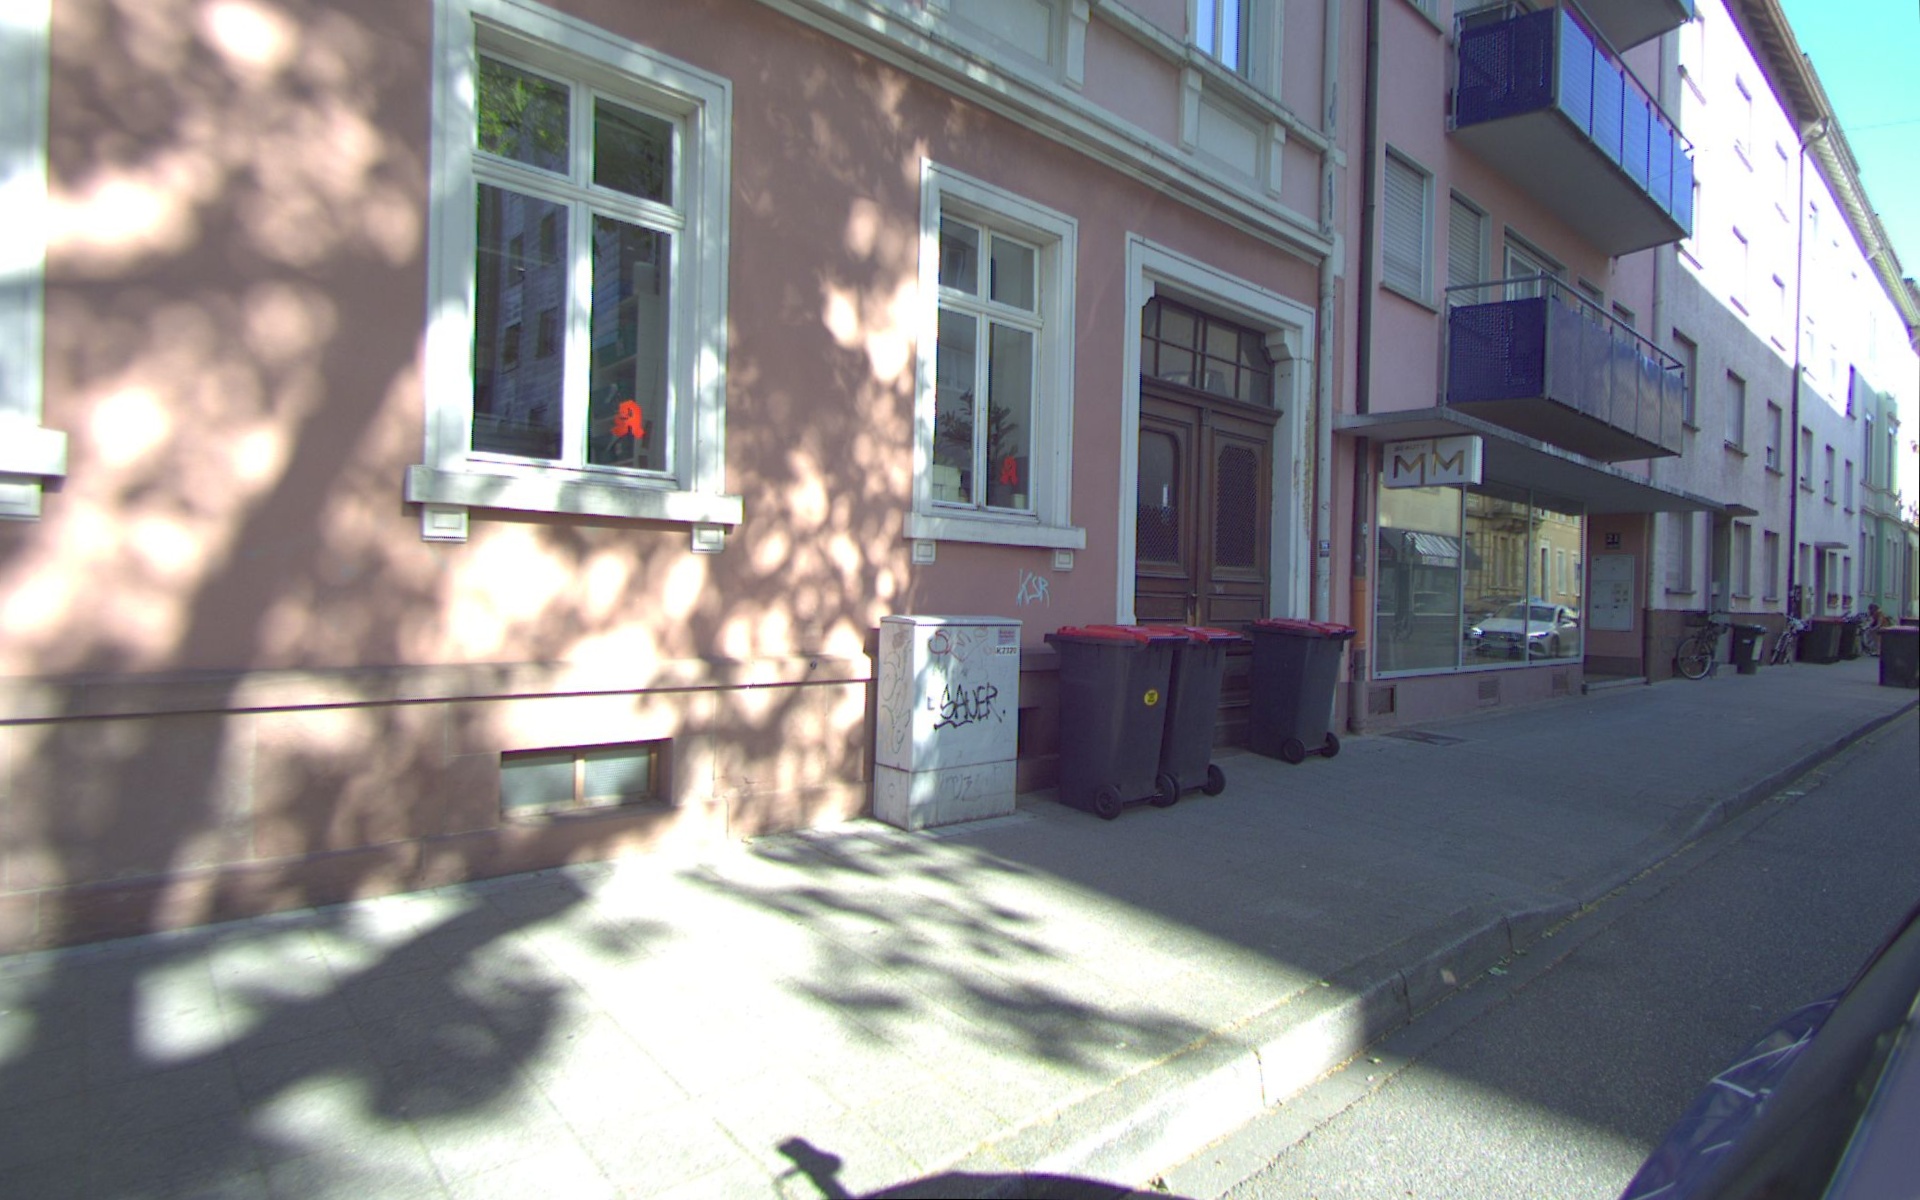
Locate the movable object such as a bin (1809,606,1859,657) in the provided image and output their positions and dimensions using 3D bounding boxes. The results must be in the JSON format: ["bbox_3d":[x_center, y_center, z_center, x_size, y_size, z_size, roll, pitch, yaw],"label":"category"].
[{"bbox_3d":[20.441,0.728,23.664,0.628,1.110,0.741,0,4,-40],"label":"movable object such as a bin"}]

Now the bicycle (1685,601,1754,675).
[{"bbox_3d":[12.728,0.611,16.944,1.885,1.148,0.454,0,3,-40],"label":"bicycle"}]

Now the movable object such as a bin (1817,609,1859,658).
[{"bbox_3d":[20.867,0.781,24.064,0.582,1.119,0.658,1,0,-40],"label":"movable object such as a bin"}]

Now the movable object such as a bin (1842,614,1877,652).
[{"bbox_3d":[23.729,0.862,26.700,0.597,0.936,0.578,1,3,-41],"label":"movable object such as a bin"}]

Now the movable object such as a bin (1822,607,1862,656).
[{"bbox_3d":[21.288,0.752,24.421,0.559,1.136,0.629,0,1,-40],"label":"movable object such as a bin"}]

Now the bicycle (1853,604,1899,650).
[{"bbox_3d":[25.510,0.739,28.184,2.223,1.221,0.439,0,1,-35],"label":"bicycle"}]

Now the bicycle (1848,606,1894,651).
[{"bbox_3d":[24.718,0.755,27.462,1.833,1.168,0.570,0,1,-37],"label":"bicycle"}]

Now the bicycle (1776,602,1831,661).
[{"bbox_3d":[18.302,0.659,21.943,2.040,1.184,0.538,1,4,-42],"label":"bicycle"}]

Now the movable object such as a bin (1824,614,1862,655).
[{"bbox_3d":[21.710,0.839,24.885,0.594,0.946,0.607,1,1,-40],"label":"movable object such as a bin"}]

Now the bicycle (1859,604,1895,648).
[{"bbox_3d":[26.411,0.728,29.149,2.120,1.221,0.406,0,1,-38],"label":"bicycle"}]

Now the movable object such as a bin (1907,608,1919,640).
[{"bbox_3d":[34.428,0.859,36.142,0.661,1.102,0.814,0,1,-39],"label":"movable object such as a bin"}]

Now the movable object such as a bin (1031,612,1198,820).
[{"bbox_3d":[0.907,0.635,5.992,0.623,1.099,0.747,0,1,-39],"label":"movable object such as a bin"}]

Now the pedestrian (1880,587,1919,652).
[{"bbox_3d":[25.818,0.521,27.756,0.672,1.733,0.658,0,1,-29],"label":"pedestrian"}]

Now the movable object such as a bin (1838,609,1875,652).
[{"bbox_3d":[23.290,0.789,26.294,0.592,1.075,0.617,1,2,-41],"label":"movable object such as a bin"}]

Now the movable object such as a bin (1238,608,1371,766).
[{"bbox_3d":[2.663,0.635,7.835,0.681,1.118,0.730,0,1,-43],"label":"movable object such as a bin"}]

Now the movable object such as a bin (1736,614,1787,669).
[{"bbox_3d":[14.791,0.757,18.671,0.670,0.963,0.599,0,1,-40],"label":"movable object such as a bin"}]

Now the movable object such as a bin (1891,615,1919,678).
[{"bbox_3d":[17.334,0.836,18.235,0.691,1.094,0.734,0,1,-40],"label":"movable object such as a bin"}]

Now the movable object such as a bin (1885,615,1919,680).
[{"bbox_3d":[16.816,0.834,17.762,0.681,1.100,0.769,0,1,-40],"label":"movable object such as a bin"}]

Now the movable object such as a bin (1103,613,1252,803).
[{"bbox_3d":[1.371,0.640,6.405,0.586,1.086,0.703,0,1,-39],"label":"movable object such as a bin"}]
